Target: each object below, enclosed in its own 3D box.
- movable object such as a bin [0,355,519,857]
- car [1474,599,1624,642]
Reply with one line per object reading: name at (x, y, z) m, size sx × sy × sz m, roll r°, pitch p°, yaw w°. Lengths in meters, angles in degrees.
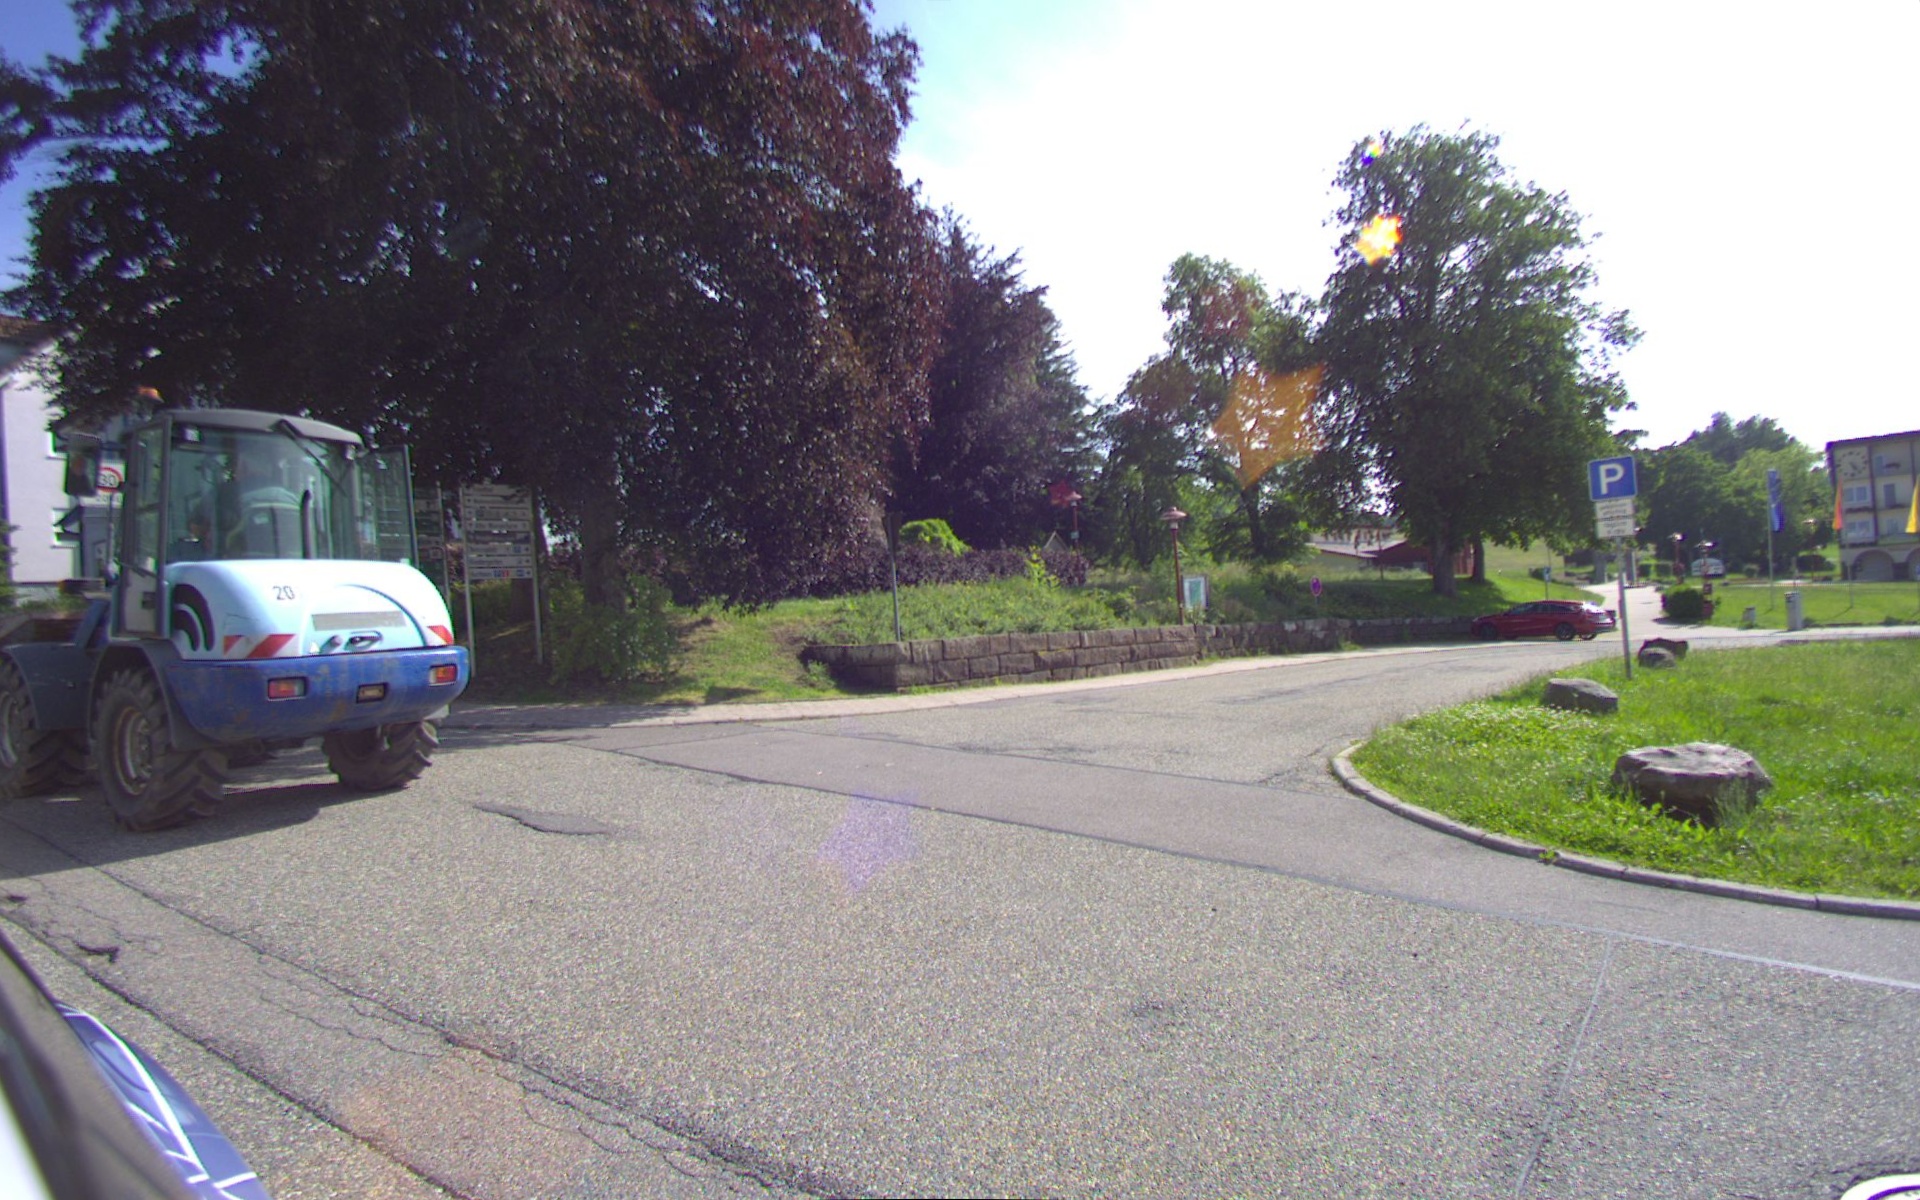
movable object such as a bin at (-5.884, 0.030, 7.772) m, size 5.085 × 2.790 × 1.980 m, roll 0°, pitch 0°, yaw 30°
car at (20.961, 0.734, 36.173) m, size 1.793 × 1.409 × 4.250 m, roll -1°, pitch -1°, yaw -32°
